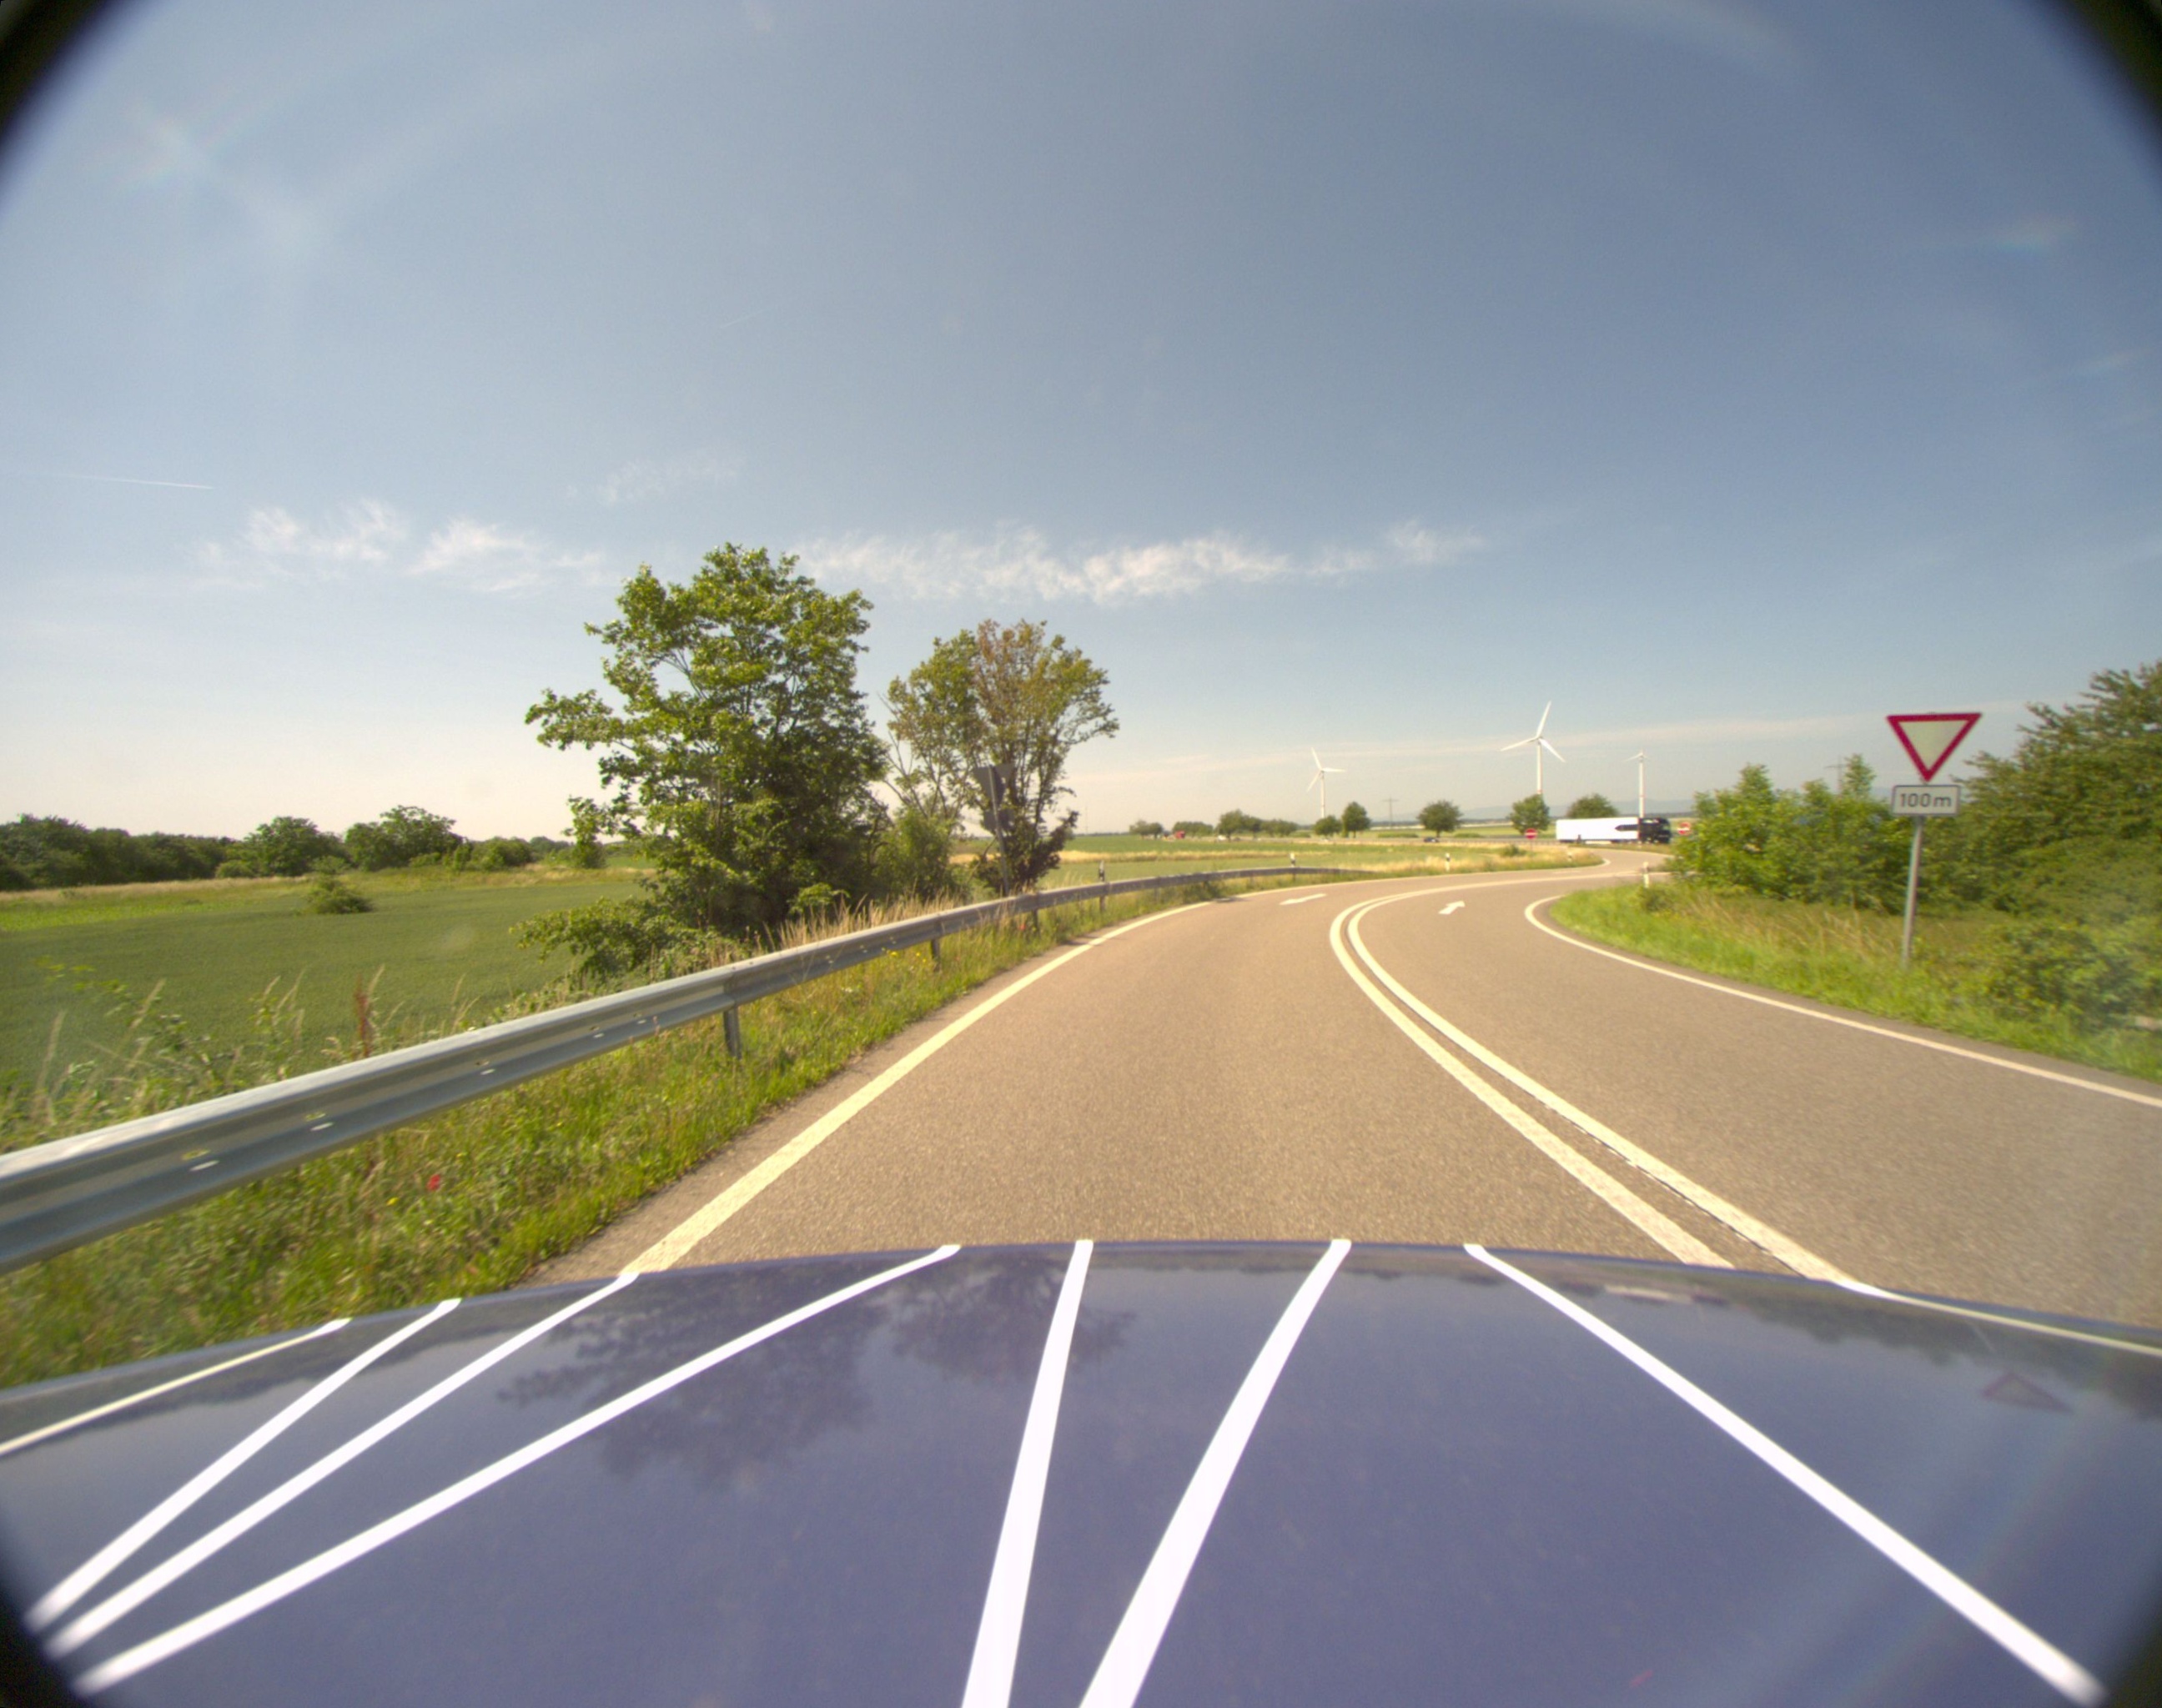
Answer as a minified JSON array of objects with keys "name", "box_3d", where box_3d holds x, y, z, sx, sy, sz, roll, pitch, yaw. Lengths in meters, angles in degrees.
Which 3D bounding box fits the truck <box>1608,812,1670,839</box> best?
[{"name":"truck","box_3d":[75.706,-3.896,103.259,3.116,3.498,6.228,-1,2,-11]}]

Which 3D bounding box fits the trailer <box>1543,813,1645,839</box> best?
[{"name":"trailer","box_3d":[74.331,-4.026,110.762,3.103,3.624,14.495,-1,2,-10]}]

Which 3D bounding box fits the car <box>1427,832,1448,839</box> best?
[{"name":"car","box_3d":[71.934,-3.690,153.387,1.682,1.346,3.995,-1,2,-10]}]
